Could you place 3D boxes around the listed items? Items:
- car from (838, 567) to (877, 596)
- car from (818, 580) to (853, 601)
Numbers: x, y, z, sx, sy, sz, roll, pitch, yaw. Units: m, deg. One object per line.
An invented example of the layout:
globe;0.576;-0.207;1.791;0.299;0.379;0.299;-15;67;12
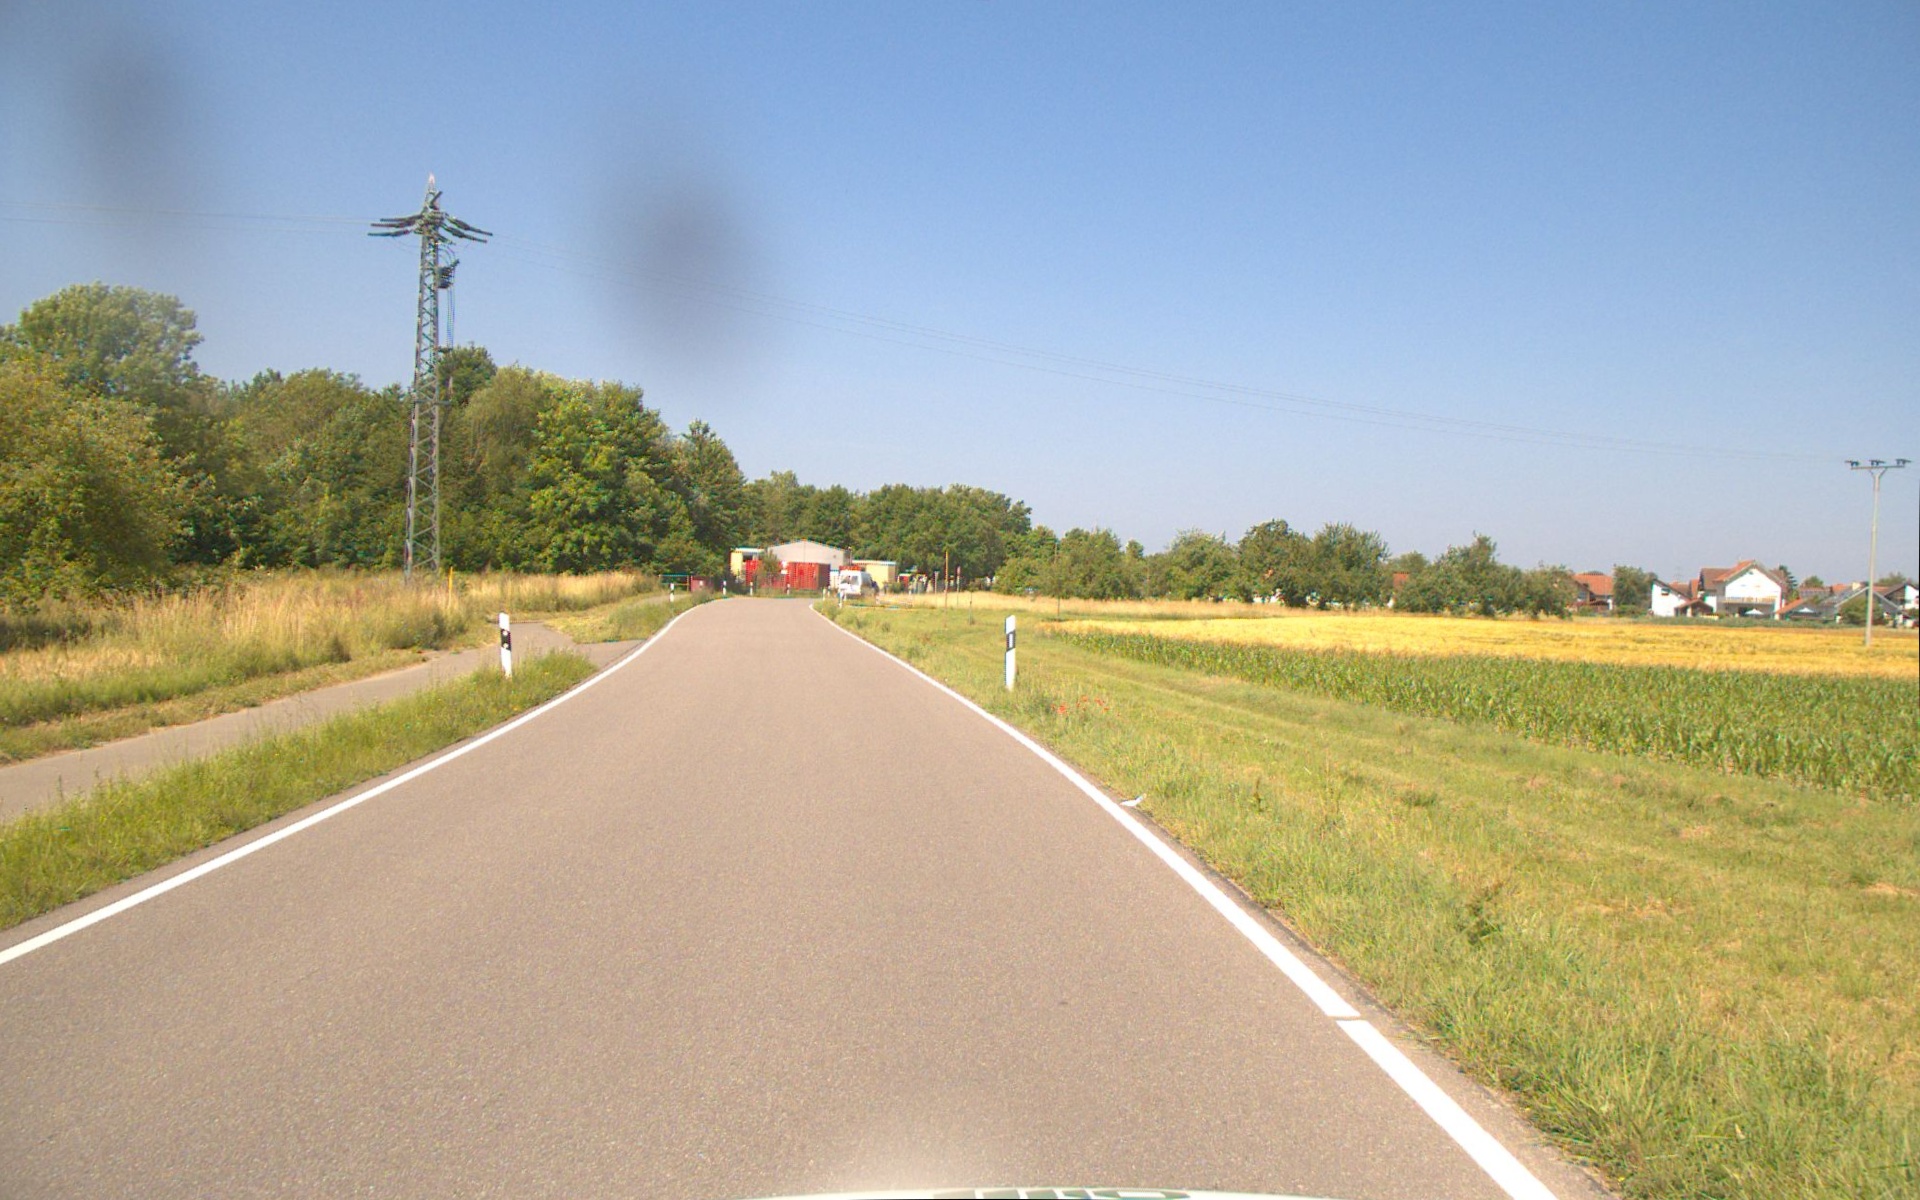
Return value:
car;-8.303;-1.475;134.568;1.951;2.305;4.730;2;0;11
car;-11.094;-0.812;147.670;1.826;1.783;4.300;2;1;13
